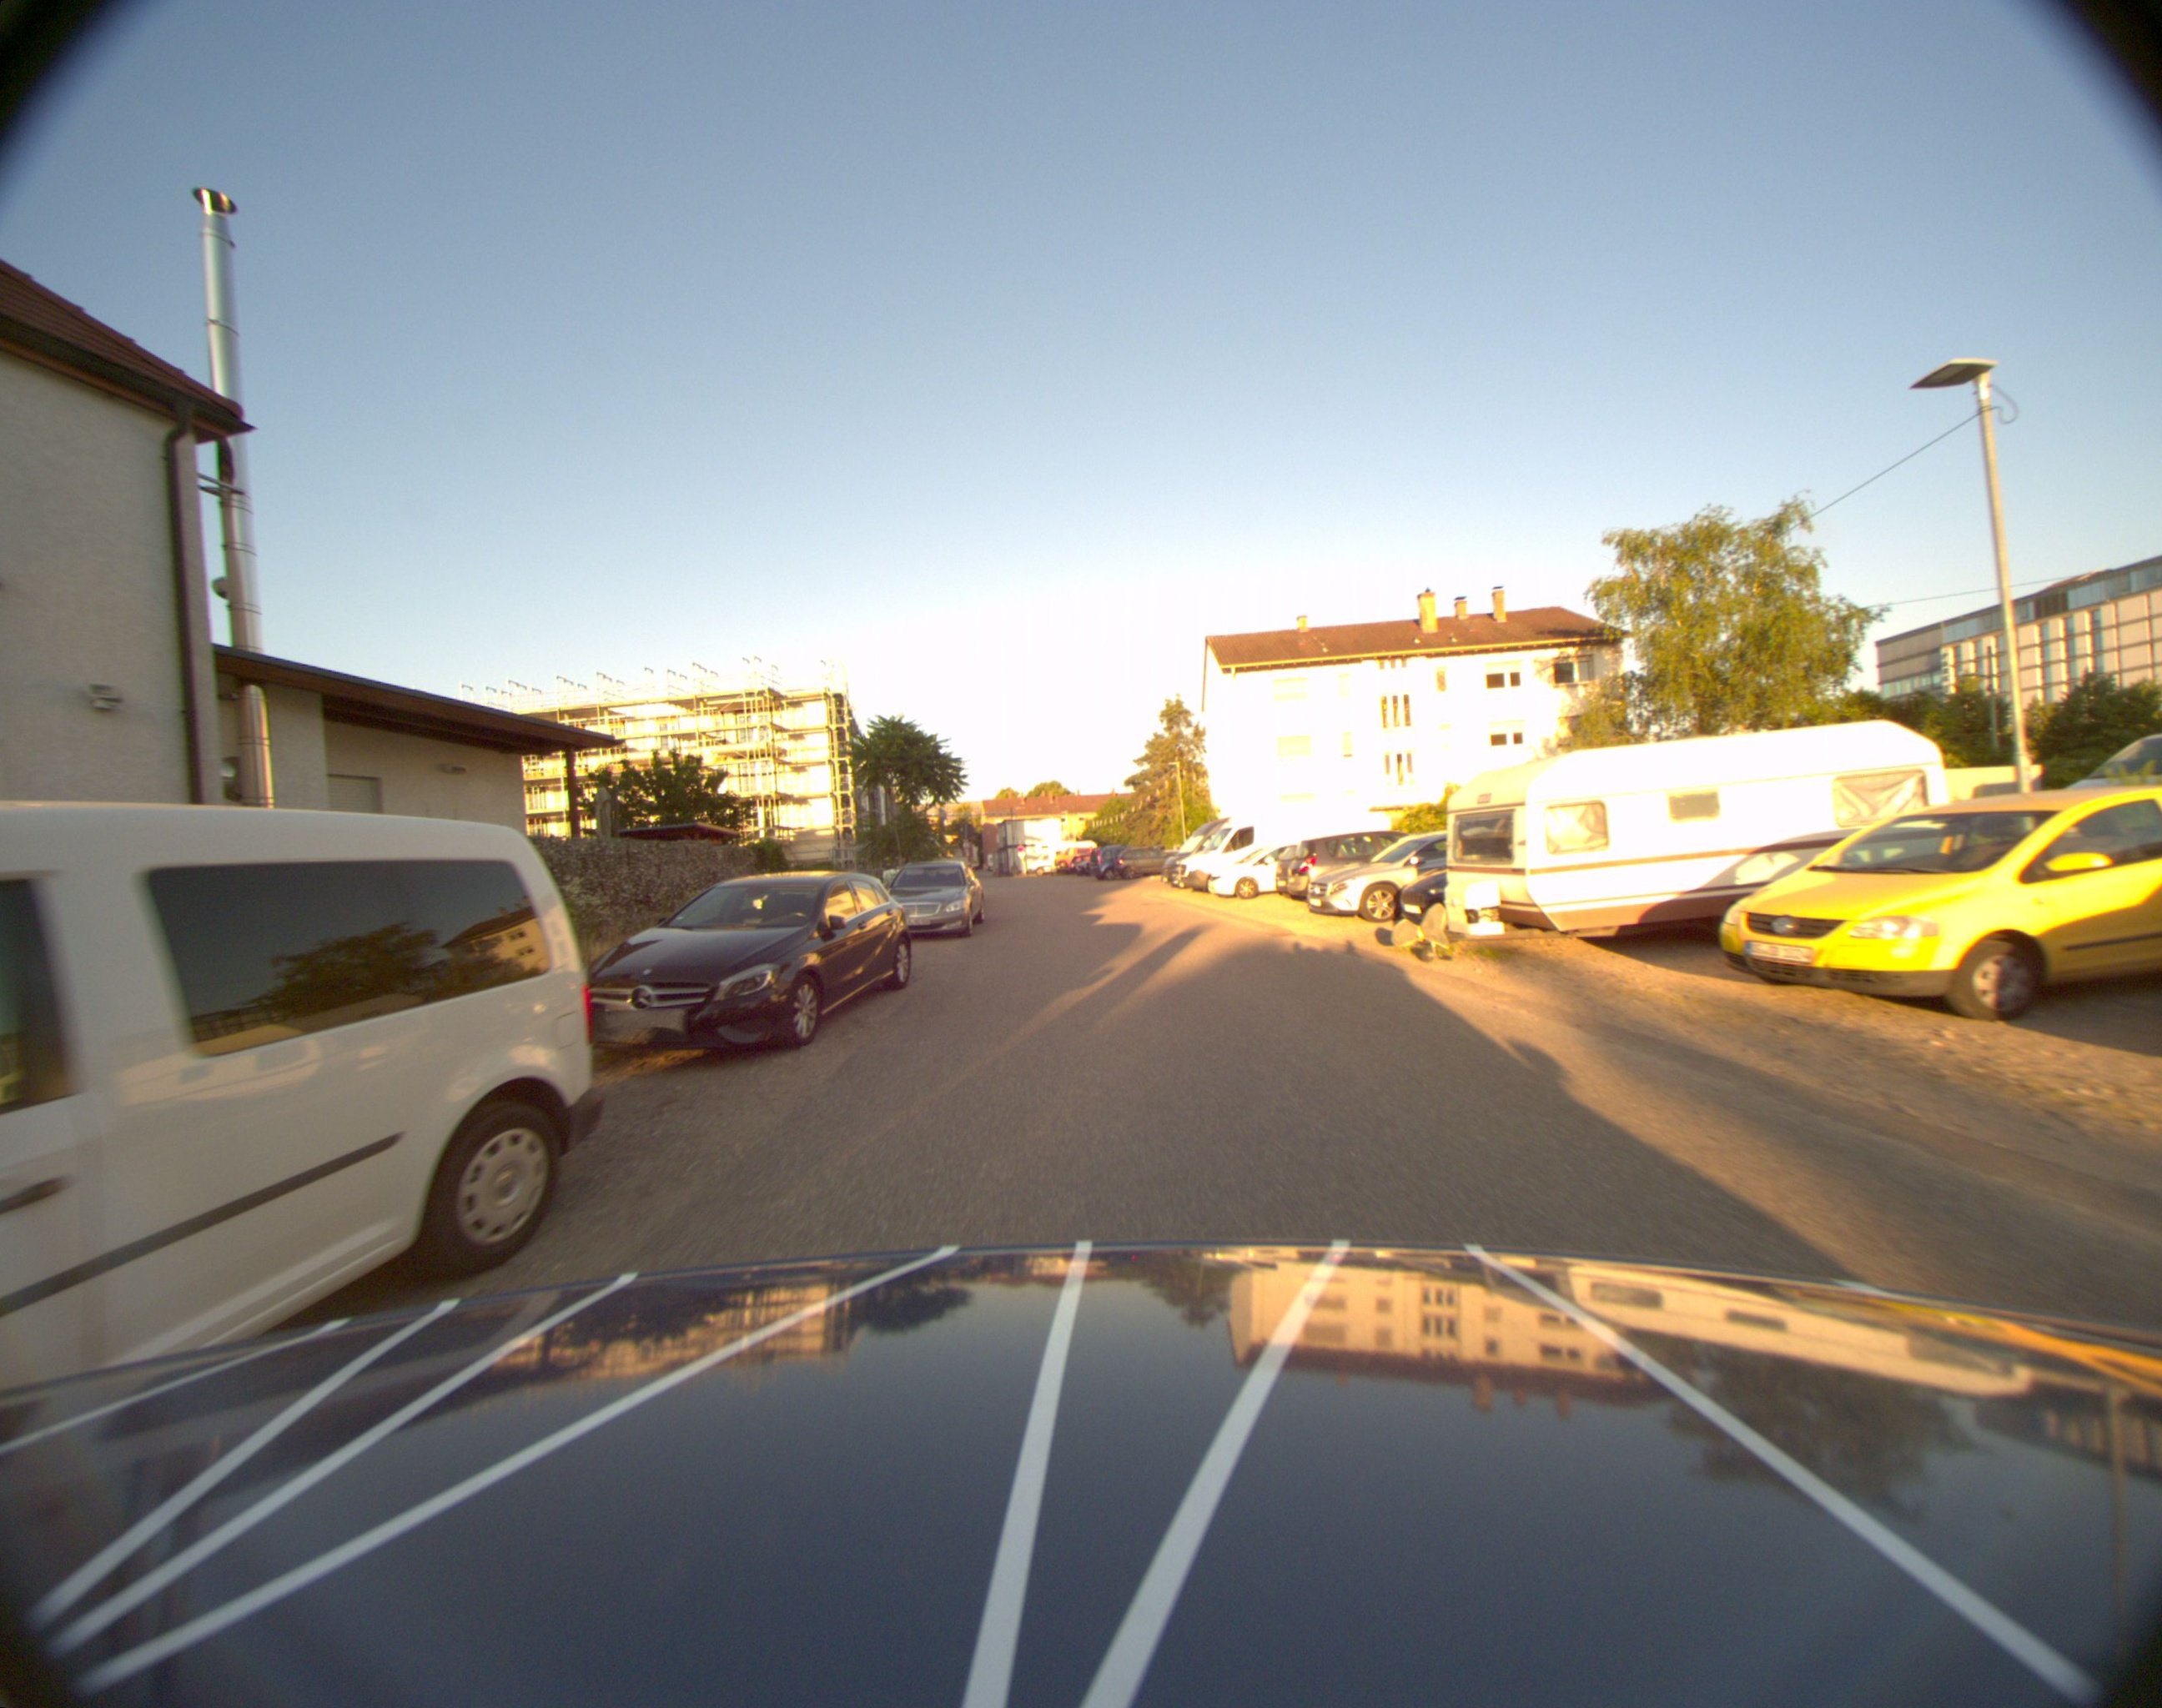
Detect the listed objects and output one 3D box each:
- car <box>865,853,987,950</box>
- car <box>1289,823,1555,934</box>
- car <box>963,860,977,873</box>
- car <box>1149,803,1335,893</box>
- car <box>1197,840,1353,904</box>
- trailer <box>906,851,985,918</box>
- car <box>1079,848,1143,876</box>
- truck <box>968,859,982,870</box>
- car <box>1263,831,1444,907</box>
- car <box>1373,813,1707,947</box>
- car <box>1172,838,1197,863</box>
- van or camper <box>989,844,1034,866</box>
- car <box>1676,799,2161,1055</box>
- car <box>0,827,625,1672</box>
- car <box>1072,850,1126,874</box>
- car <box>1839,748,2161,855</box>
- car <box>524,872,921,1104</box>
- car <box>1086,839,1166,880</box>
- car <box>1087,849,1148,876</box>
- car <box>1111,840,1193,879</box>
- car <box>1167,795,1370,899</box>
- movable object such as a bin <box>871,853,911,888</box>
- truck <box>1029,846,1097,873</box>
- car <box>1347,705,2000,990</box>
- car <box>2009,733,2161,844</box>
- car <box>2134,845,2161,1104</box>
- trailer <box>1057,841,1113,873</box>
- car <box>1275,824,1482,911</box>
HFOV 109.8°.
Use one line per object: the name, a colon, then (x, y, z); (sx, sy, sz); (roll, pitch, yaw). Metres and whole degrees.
car: (-3.119, 0.863, 16.271); (1.811, 1.714, 4.926); (-2, 0, -3)
car: (6.293, 0.417, 14.316); (4.138, 1.582, 1.747); (-5, 1, -4)
car: (-15.242, 1.726, 104.325); (1.676, 1.610, 4.282); (-4, 0, -10)
car: (6.059, -0.259, 28.863); (6.409, 2.698, 2.111); (-6, 2, -12)
car: (5.553, 0.483, 21.997); (3.937, 1.498, 1.789); (-4, 1, -4)
trailer: (-3.949, 0.823, 22.910); (1.736, 1.767, 4.935); (-2, 0, -3)
car: (2.062, 0.552, 52.542); (4.102, 1.617, 1.821); (-4, -3, -8)
truck: (-20.755, 2.033, 148.364); (1.843, 2.089, 3.735); (-6, 1, -17)
car: (6.921, 0.339, 19.537); (3.937, 1.582, 1.747); (-4, 2, -5)
car: (7.066, 0.364, 11.987); (4.137, 1.582, 1.747); (-5, 1, -2)
car: (10.311, -0.312, 75.974); (1.848, 2.135, 4.823); (-4, -2, 1)
van or camper: (-10.717, 0.159, 117.073); (6.474, 2.625, 2.405); (-6, 1, -9)
car: (7.209, 0.445, 6.028); (3.638, 1.510, 1.705); (-5, 0, -3)
car: (-3.260, 0.892, 1.539); (1.775, 1.820, 4.409); (-3, 0, 3)
car: (1.363, 0.634, 59.483); (4.047, 1.610, 1.849); (-4, 1, -1)
car: (16.172, -0.873, 13.495); (3.613, 1.468, 1.665); (-5, 0, 2)
car: (-3.039, 1.030, 7.544); (1.708, 1.510, 4.089); (-3, 0, 4)
car: (2.482, 0.300, 42.374); (3.940, 1.900, 1.746); (-6, 0, -18)
car: (2.435, 0.538, 51.165); (3.936, 1.508, 1.642); (-4, 1, -1)
car: (3.700, 0.298, 39.969); (3.936, 1.642, 1.748); (-6, 0, -2)
car: (5.983, -0.235, 24.633); (5.843, 2.697, 2.049); (-6, 0, -7)
movable object such as a bin: (-14.018, 1.179, 56.517); (2.072, 2.260, 8.361); (-3, 0, -9)
truck: (-1.724, 0.508, 71.066); (6.030, 2.031, 2.354); (-4, 0, -8)
car: (6.731, -0.046, 9.331); (5.902, 2.518, 2.412); (-5, -1, 1)
car: (16.575, -1.057, 10.605); (4.375, 1.468, 1.983); (-5, 0, 7)
car: (7.536, 0.483, 3.294); (3.736, 1.359, 1.705); (-5, 0, -3)
trailer: (0.332, 0.223, 68.525); (4.805, 2.419, 2.133); (-5, 2, -4)
car: (6.600, 0.287, 17.190); (3.934, 1.581, 1.748); (-4, 0, 3)
